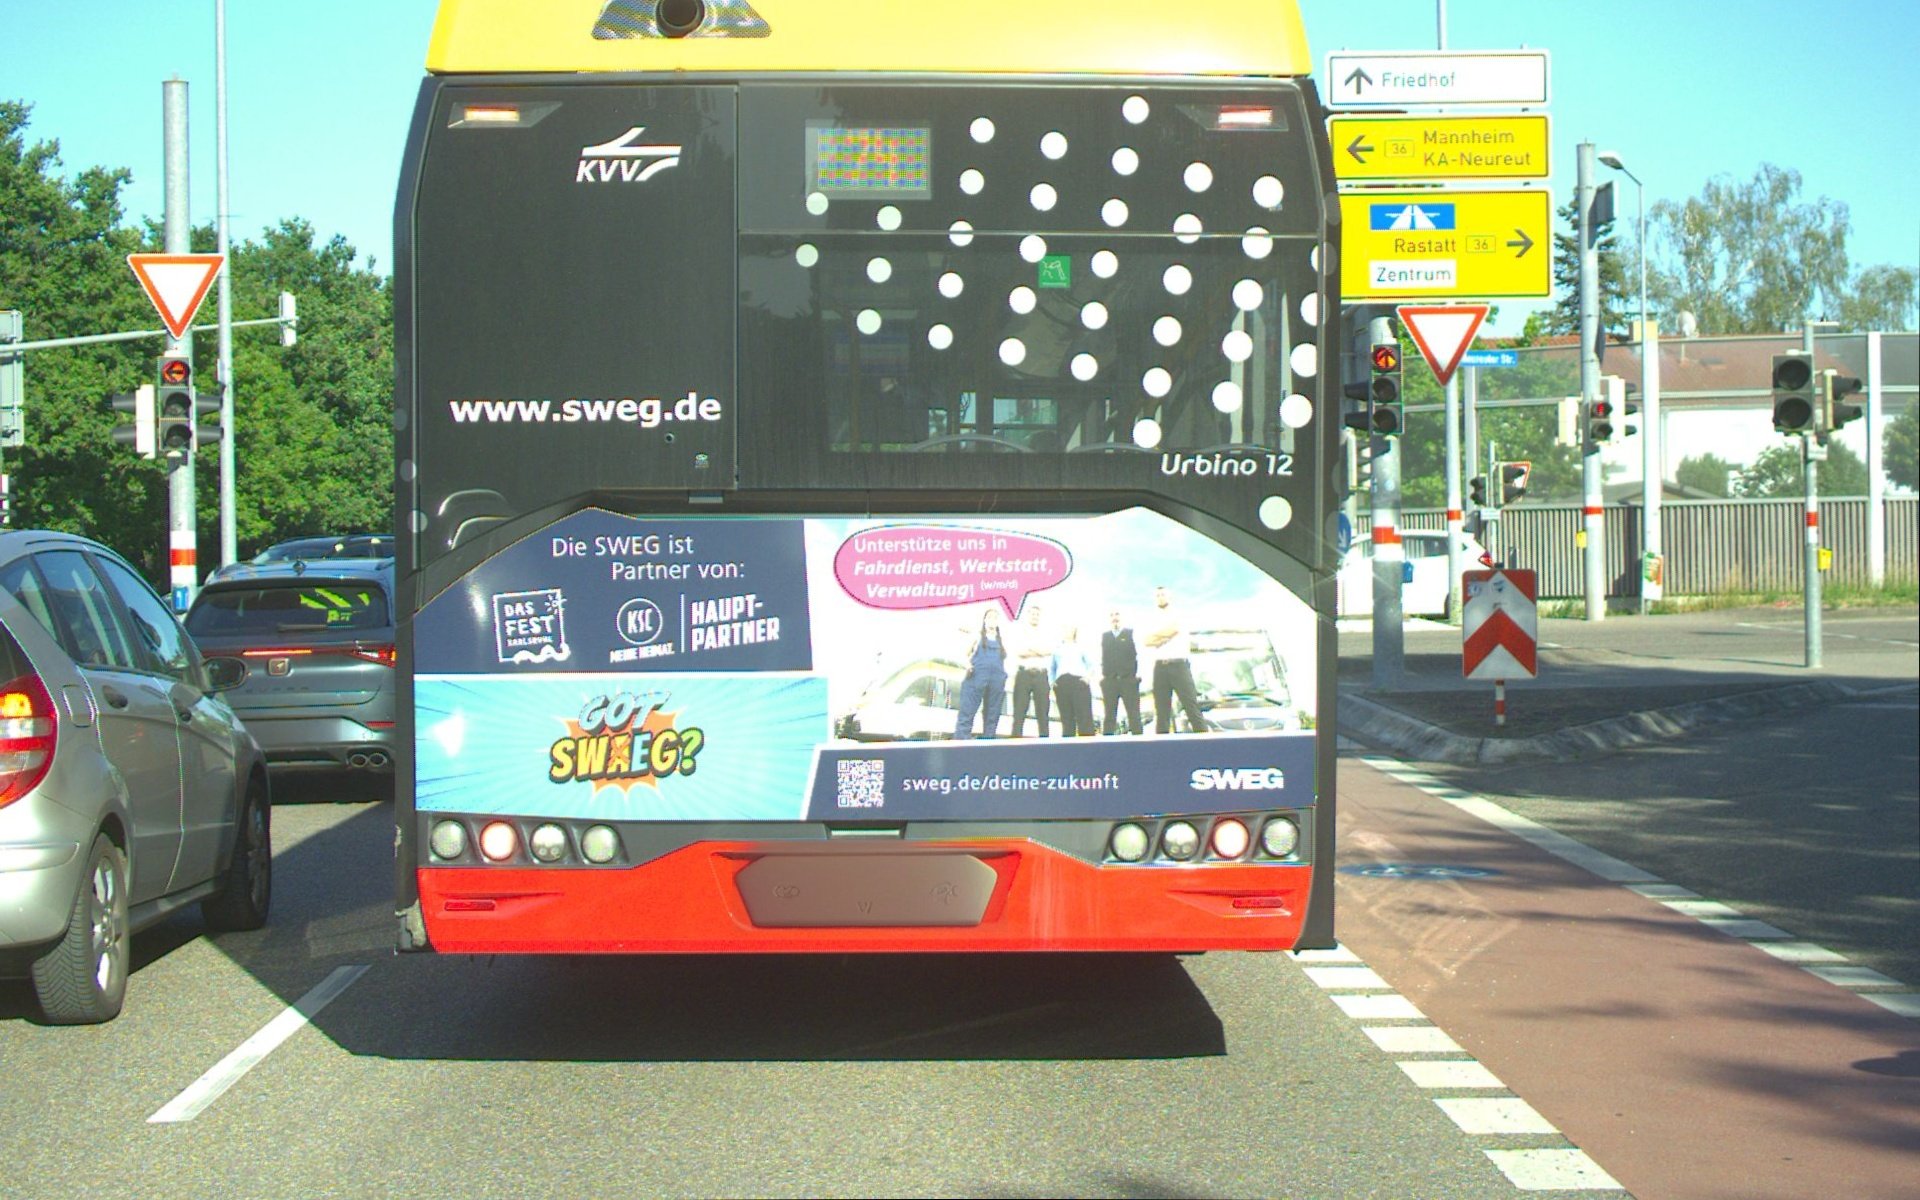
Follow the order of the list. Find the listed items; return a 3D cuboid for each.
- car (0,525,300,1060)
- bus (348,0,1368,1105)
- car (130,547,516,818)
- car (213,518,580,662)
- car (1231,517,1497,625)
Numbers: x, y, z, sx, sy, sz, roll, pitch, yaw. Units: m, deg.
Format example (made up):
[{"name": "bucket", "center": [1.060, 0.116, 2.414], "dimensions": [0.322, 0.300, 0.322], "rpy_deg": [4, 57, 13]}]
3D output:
[{"name": "car", "center": [-3.598, 0.562, 12.188], "dimensions": [1.761, 1.584, 4.000], "rpy_deg": [-2, 1, -1]}, {"name": "bus", "center": [-0.286, -0.400, 14.886], "dimensions": [2.642, 3.156, 11.861], "rpy_deg": [0, 1, 0]}, {"name": "car", "center": [-3.805, 0.432, 21.119], "dimensions": [1.692, 1.453, 3.751], "rpy_deg": [-2, 1, -1]}, {"name": "car", "center": [-6.573, -0.138, 40.420], "dimensions": [1.766, 1.521, 4.071], "rpy_deg": [-1, 1, 39]}, {"name": "car", "center": [6.267, -0.454, 53.533], "dimensions": [3.806, 1.607, 1.707], "rpy_deg": [1, 0, -6]}]
